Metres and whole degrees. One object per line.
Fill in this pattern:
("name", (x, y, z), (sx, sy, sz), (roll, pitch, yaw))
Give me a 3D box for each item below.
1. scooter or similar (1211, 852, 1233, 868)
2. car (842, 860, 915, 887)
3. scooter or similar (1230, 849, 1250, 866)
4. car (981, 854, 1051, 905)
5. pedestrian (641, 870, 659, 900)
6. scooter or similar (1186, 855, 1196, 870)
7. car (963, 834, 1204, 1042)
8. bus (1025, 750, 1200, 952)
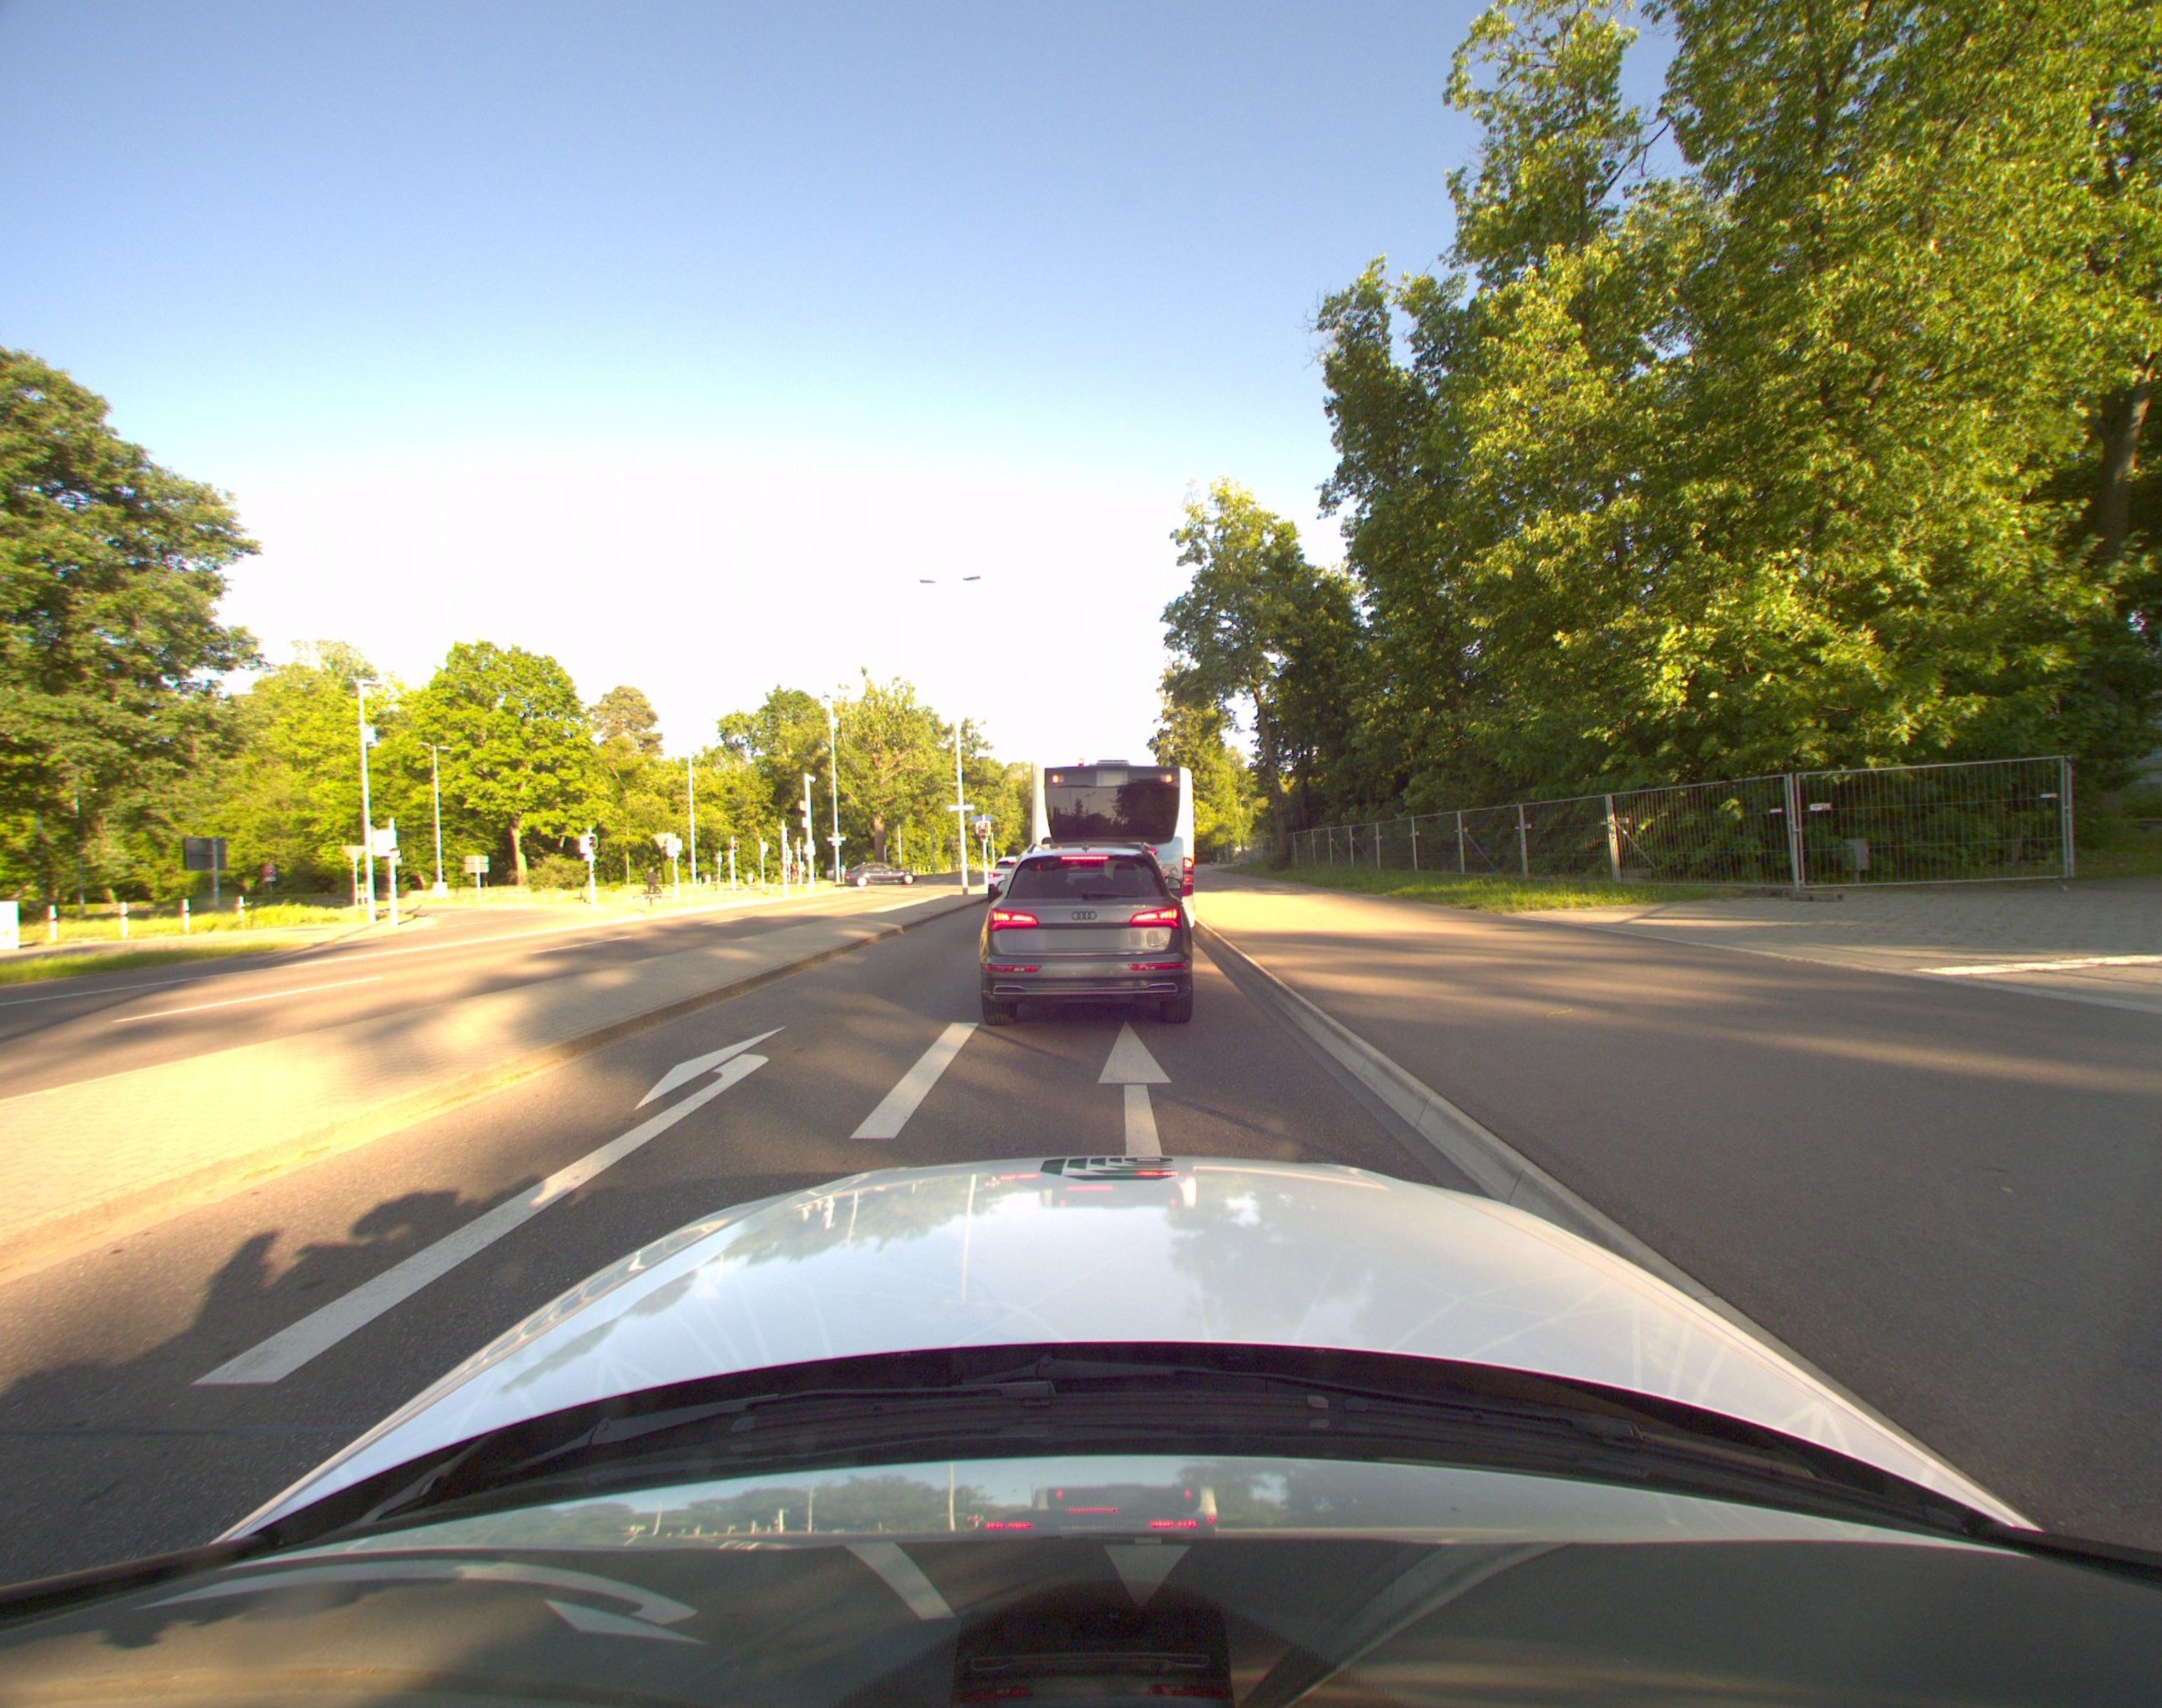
("scooter or similar", (13.485, 0.562, 77.684), (2.025, 1.444, 0.601), (-3, 0, -23))
("car", (-12.394, 1.160, 49.742), (4.118, 1.387, 1.739), (-3, 0, -22))
("scooter or similar", (15.389, 0.367, 78.939), (0.543, 1.567, 1.999), (-3, 0, -37))
("car", (-2.118, 0.789, 27.602), (1.829, 1.518, 4.002), (-3, 0, 2))
("pedestrian", (-22.710, 1.645, 42.926), (0.652, 1.560, 0.533), (-2, 0, -41))
("scooter or similar", (10.880, 0.824, 80.550), (0.507, 1.444, 2.020), (-3, 0, -3))
("car", (0.084, 0.668, 8.454), (1.891, 1.632, 4.002), (-1, 0, 2))
("bus", (0.625, 0.003, 16.951), (2.585, 2.989, 9.330), (-1, -1, 2))
